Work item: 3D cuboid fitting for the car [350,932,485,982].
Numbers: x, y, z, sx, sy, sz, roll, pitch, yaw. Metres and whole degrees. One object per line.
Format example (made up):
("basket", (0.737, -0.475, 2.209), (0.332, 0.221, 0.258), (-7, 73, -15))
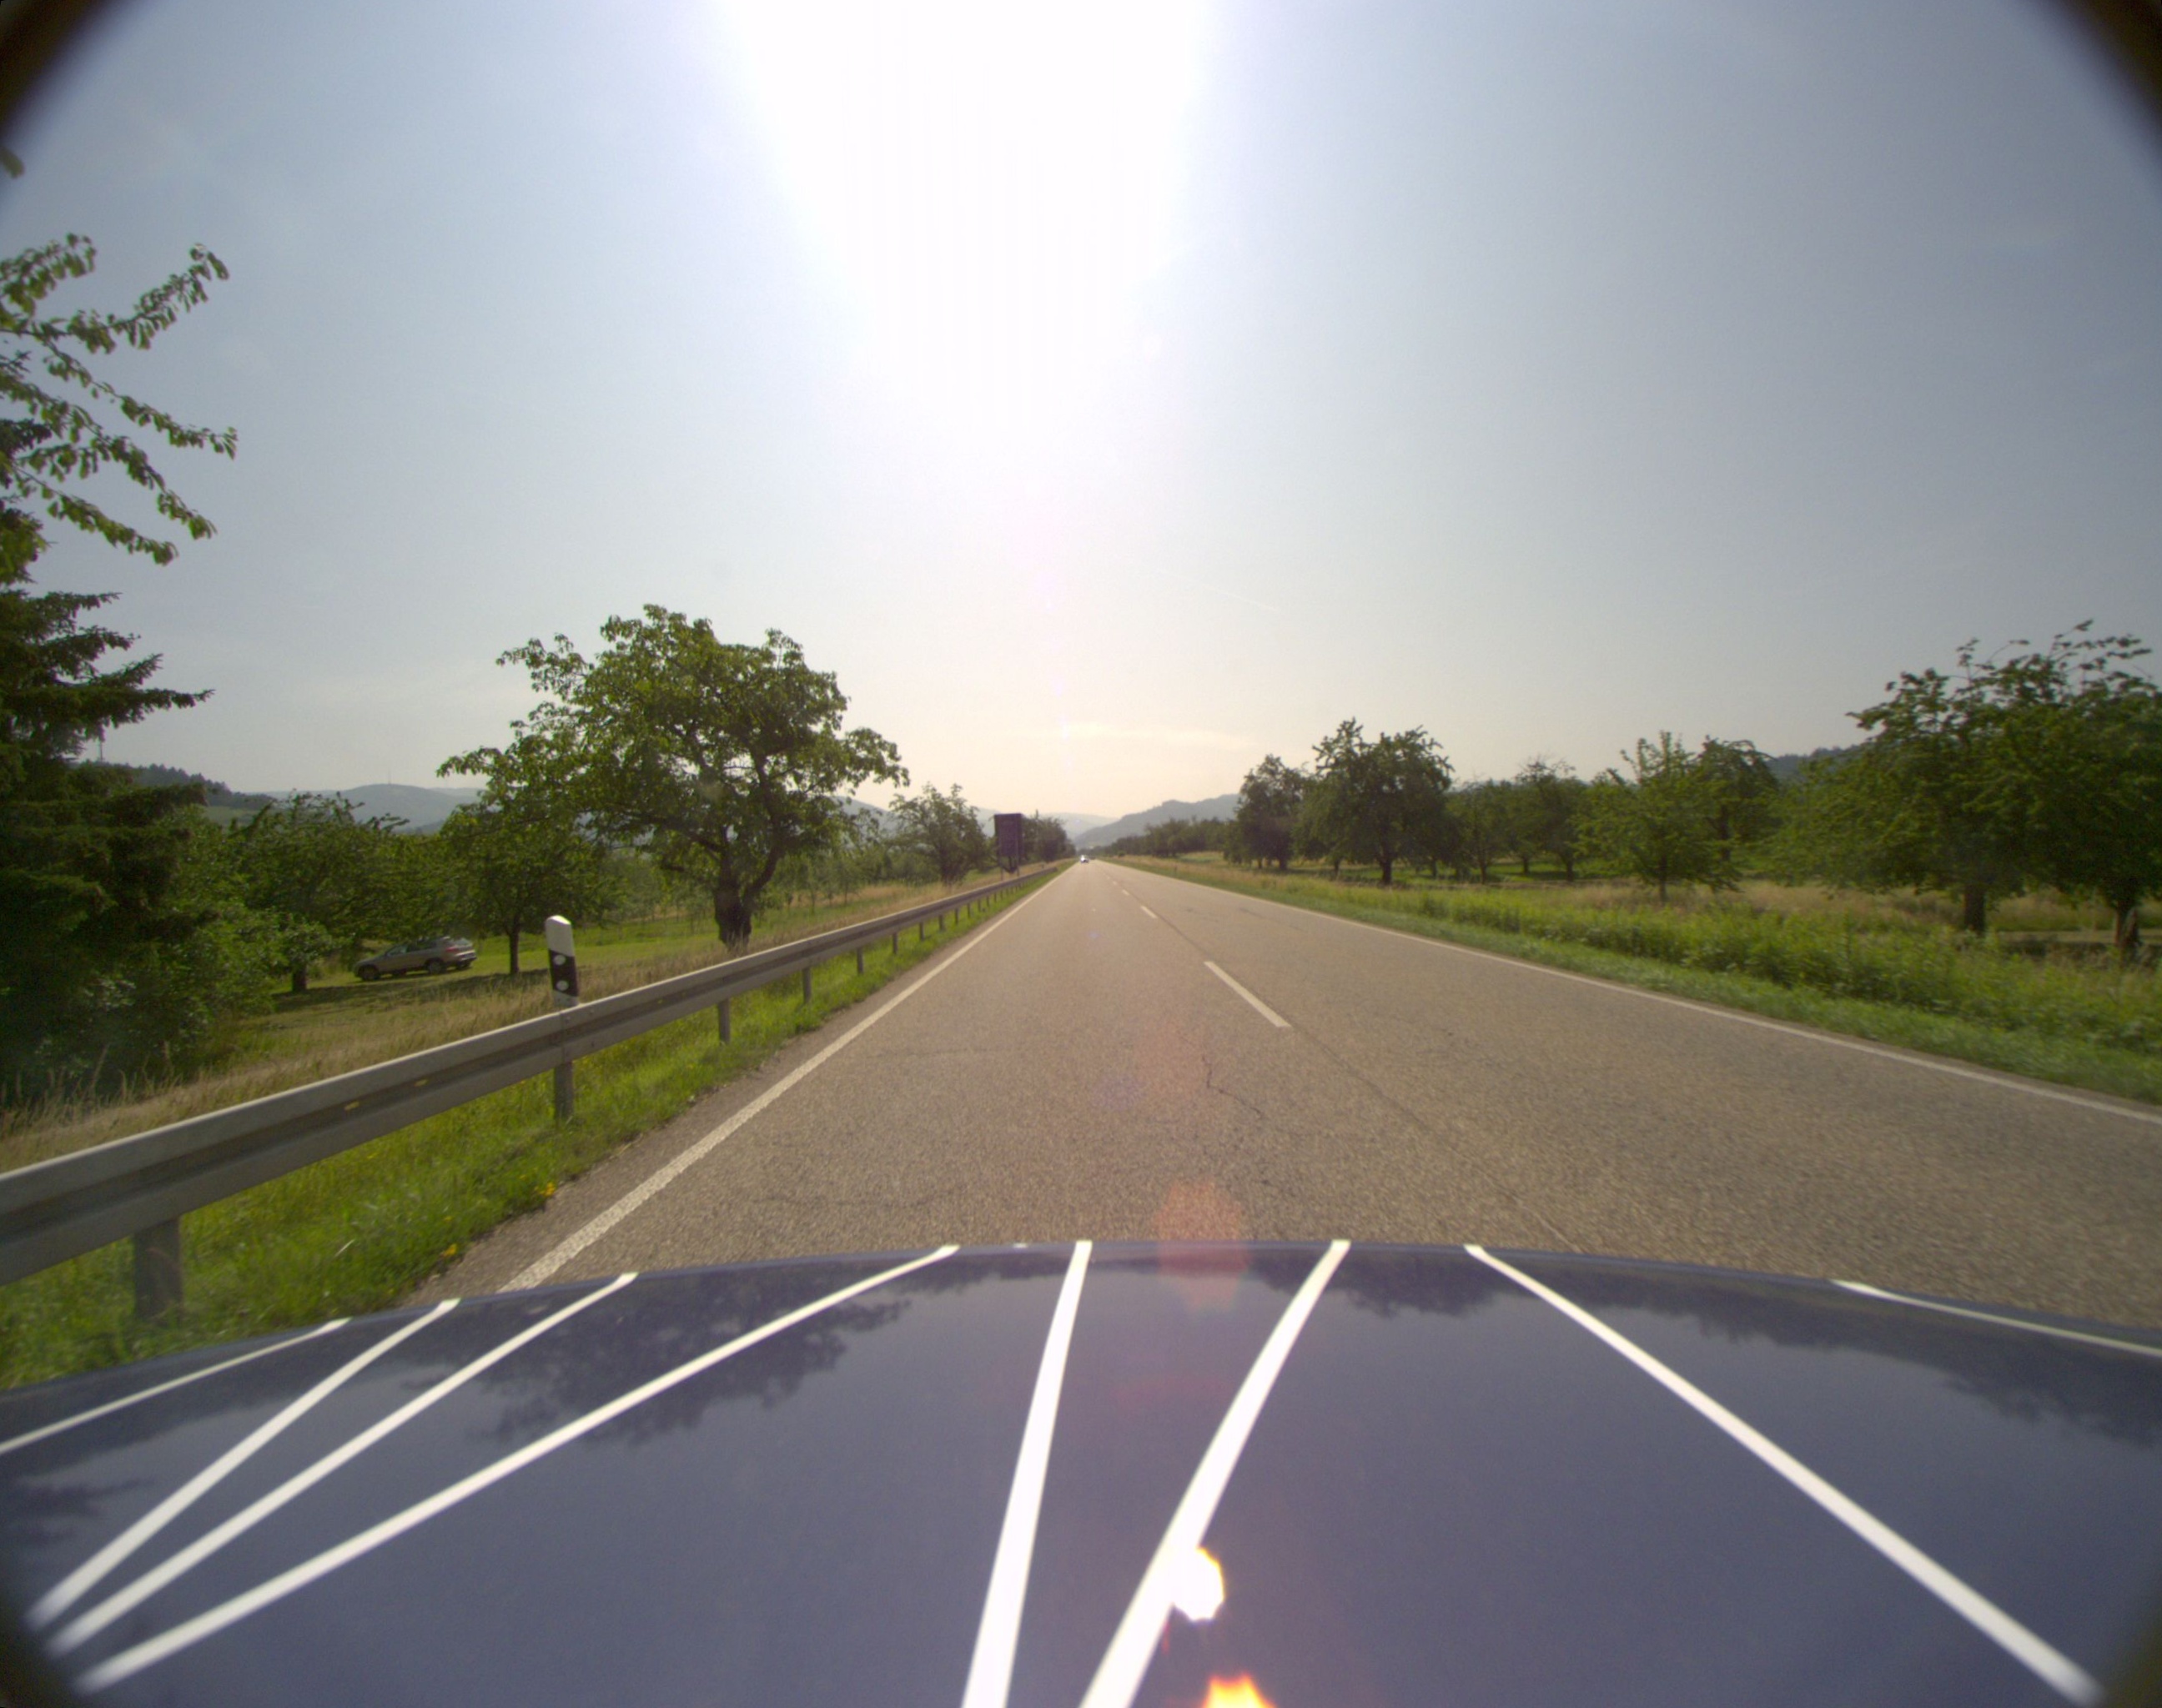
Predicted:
("car", (-29.429, 4.566, 33.812), (4.090, 1.525, 1.856), (-5, 1, -5))

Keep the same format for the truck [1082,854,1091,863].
("truck", (1.425, 1.135, 193.038), (2.031, 2.232, 4.765), (-2, 1, 2))
